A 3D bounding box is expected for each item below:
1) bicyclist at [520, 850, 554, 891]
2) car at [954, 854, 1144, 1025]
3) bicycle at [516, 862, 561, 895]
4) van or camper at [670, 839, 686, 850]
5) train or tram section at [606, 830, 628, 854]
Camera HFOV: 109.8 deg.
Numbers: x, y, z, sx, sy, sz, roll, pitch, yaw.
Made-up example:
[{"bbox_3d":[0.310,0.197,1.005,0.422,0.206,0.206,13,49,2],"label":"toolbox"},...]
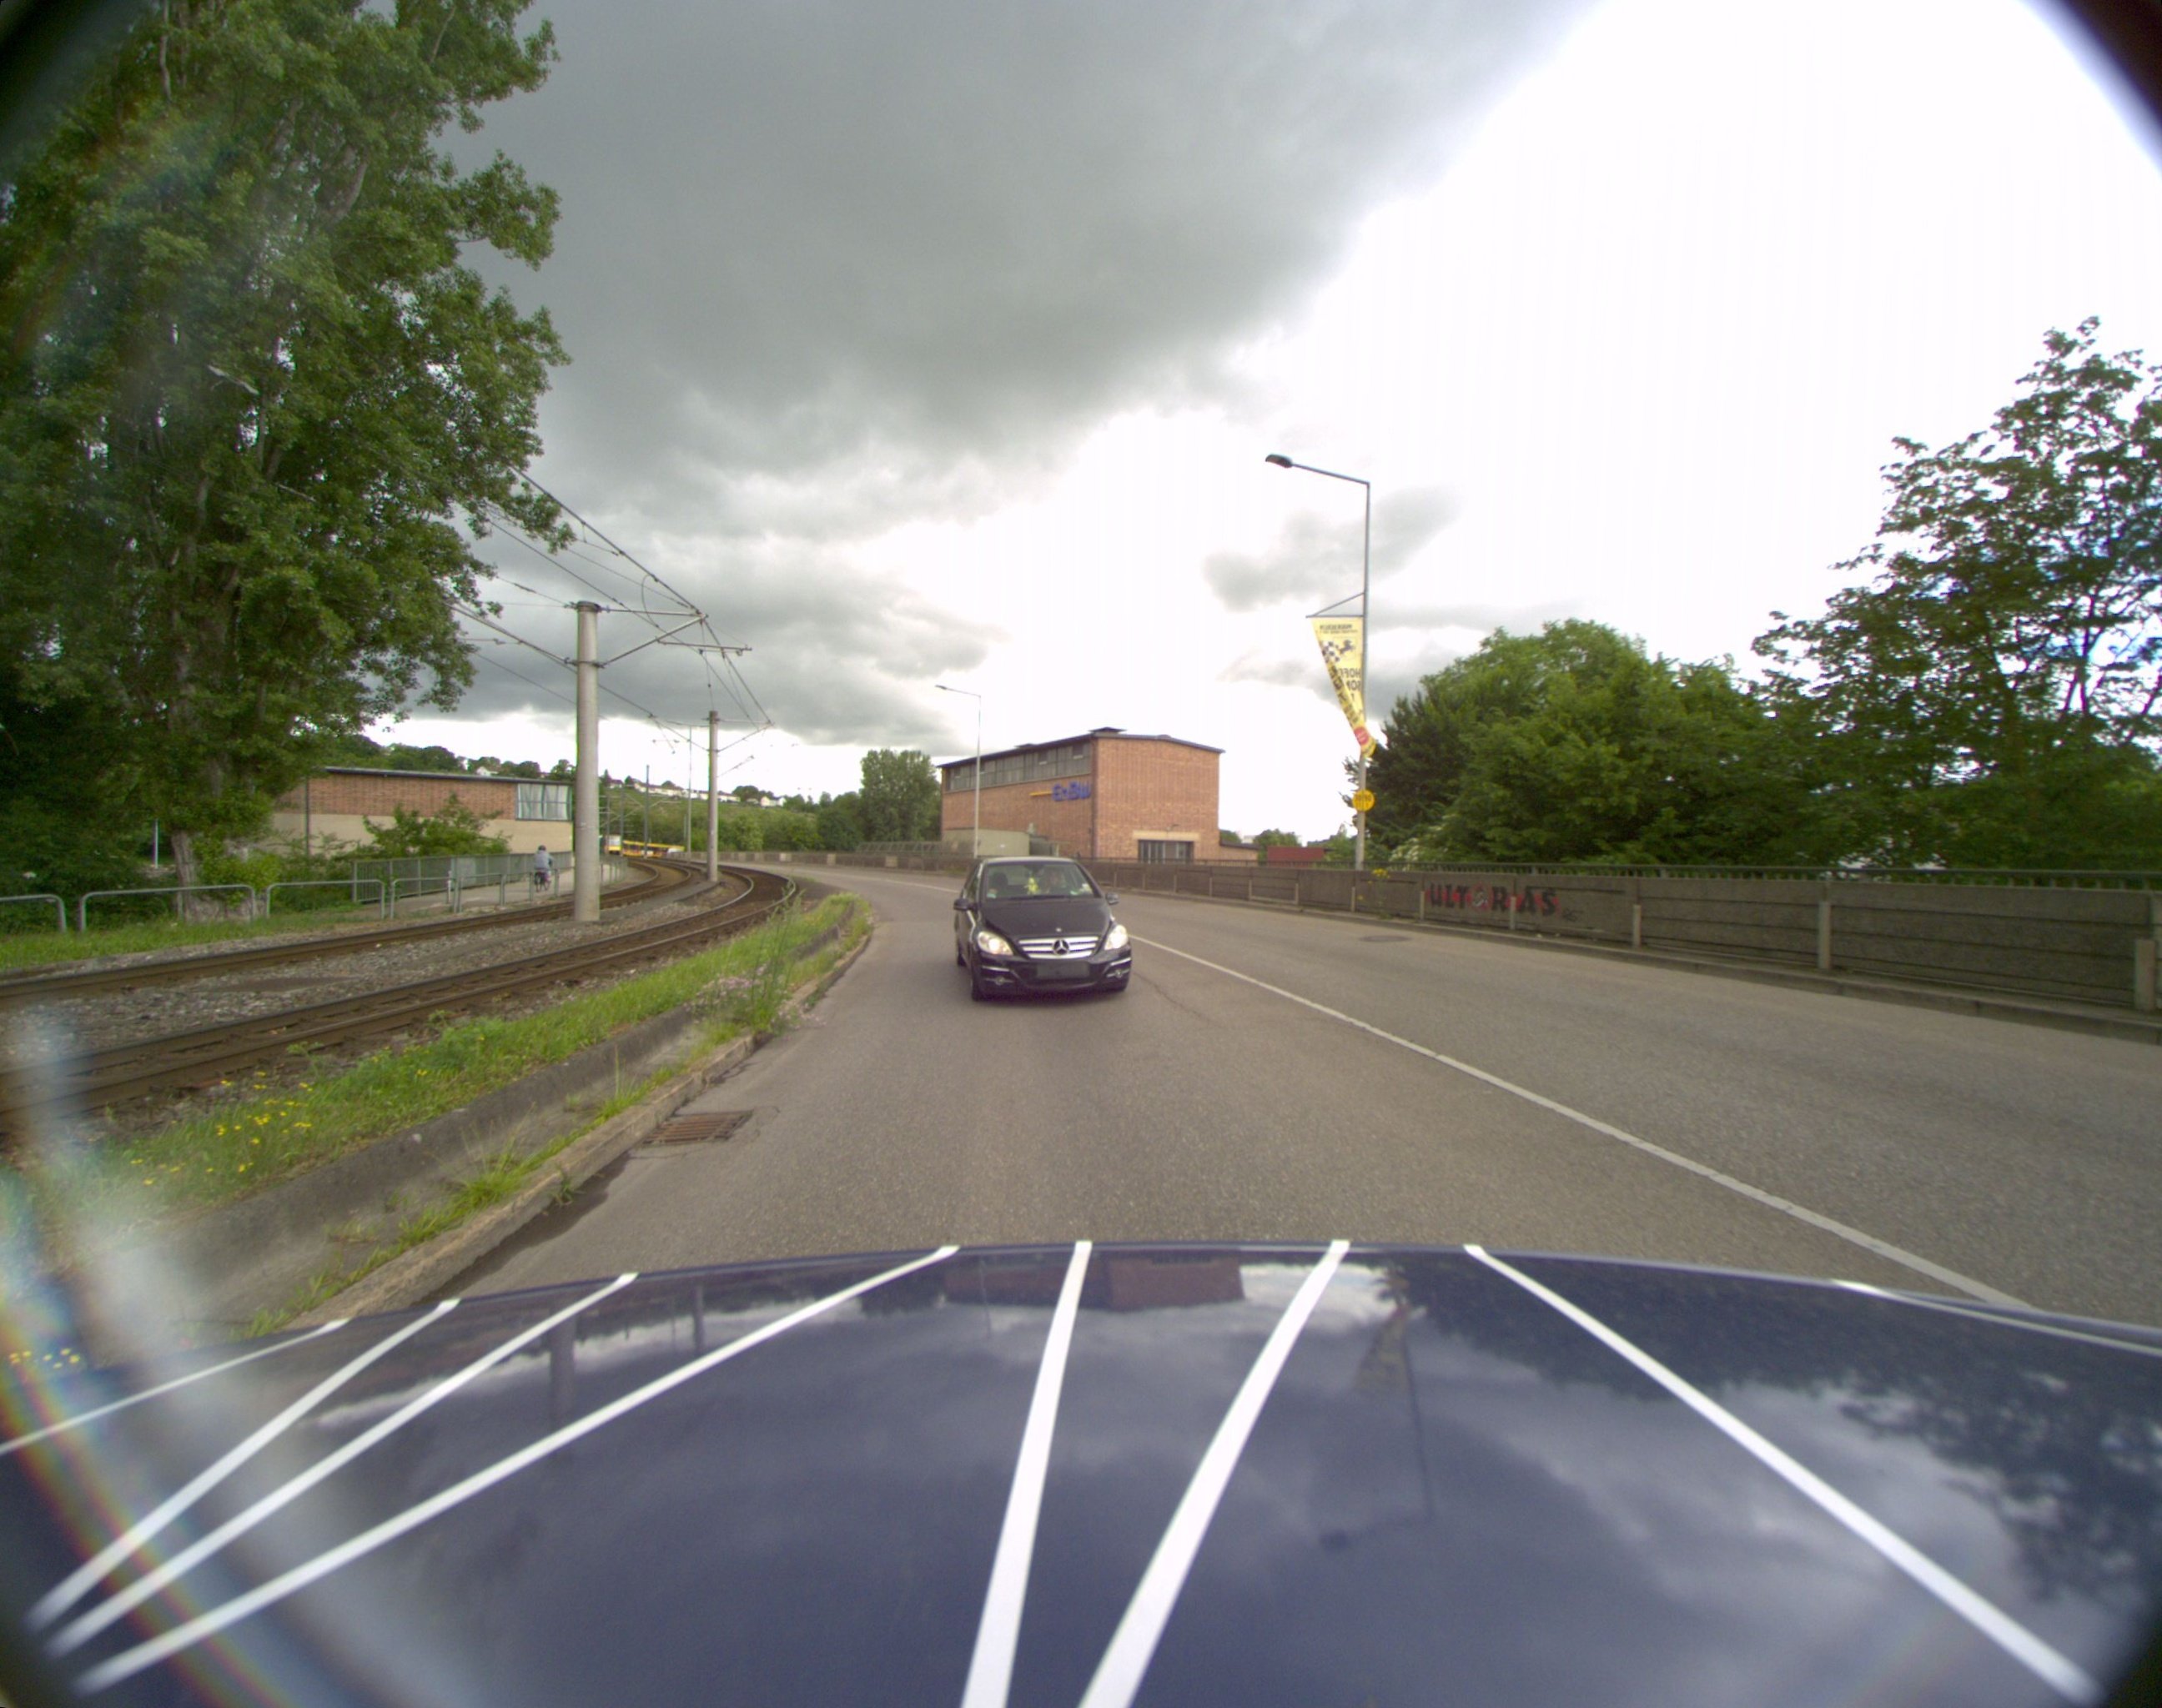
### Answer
[{"bbox_3d":[-18.695,0.559,26.112,0.595,1.352,0.909,-1,1,-12],"label":"bicyclist"},{"bbox_3d":[-0.635,0.850,9.608,1.862,1.612,3.995,0,1,-10],"label":"car"},{"bbox_3d":[-18.643,0.812,26.131,0.427,1.044,2.078,-1,0,-12],"label":"bicycle"},{"bbox_3d":[-92.754,-2.139,174.896,2.159,2.461,4.703,-1,1,-16],"label":"van or camper"},{"bbox_3d":[-79.793,-2.035,130.629,3.038,3.896,9.417,0,1,-33],"label":"train or tram section"}]
